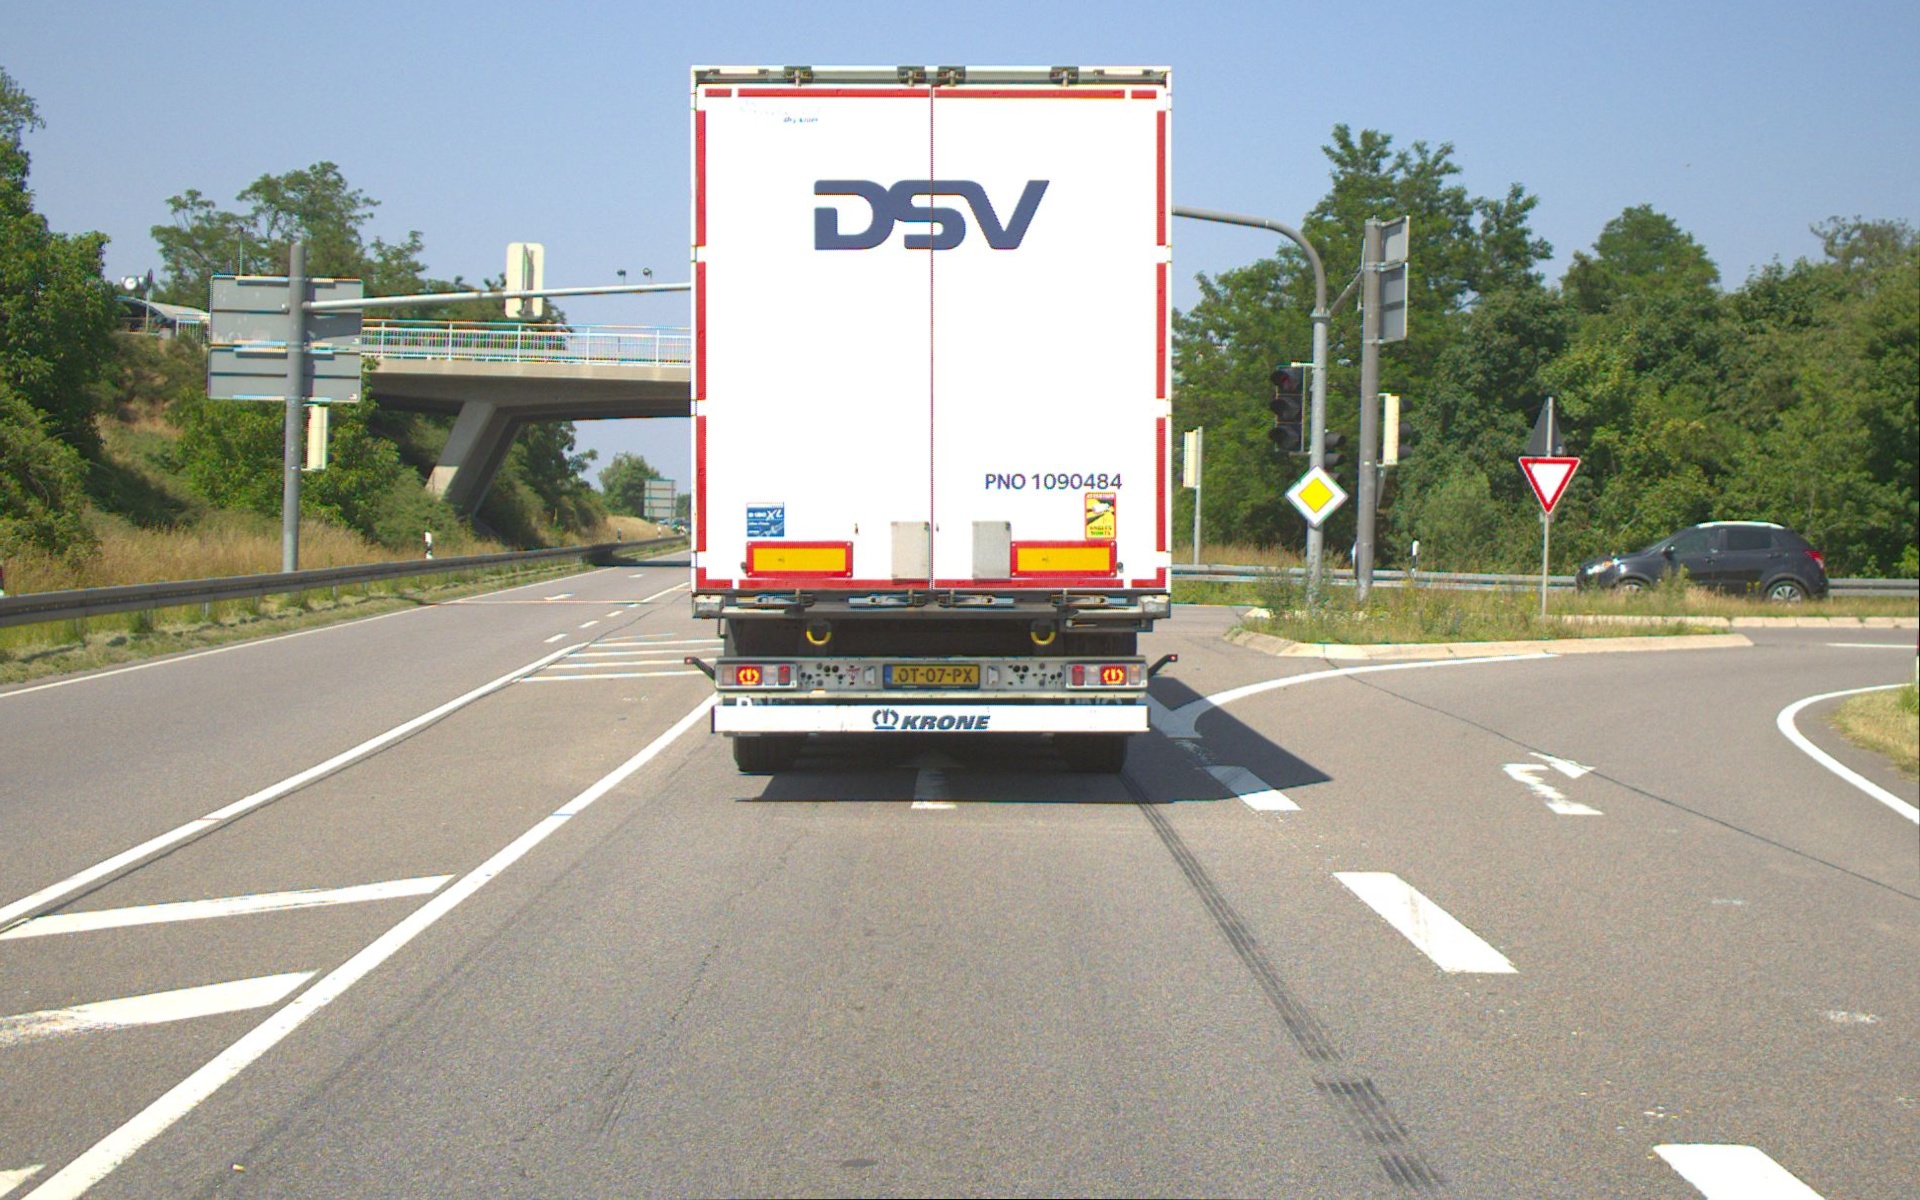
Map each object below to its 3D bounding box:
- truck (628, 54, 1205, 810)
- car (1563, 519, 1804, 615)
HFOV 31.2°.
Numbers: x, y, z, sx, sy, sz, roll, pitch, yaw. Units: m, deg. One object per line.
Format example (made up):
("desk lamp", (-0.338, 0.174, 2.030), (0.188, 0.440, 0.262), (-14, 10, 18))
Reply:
("truck", (-0.254, -0.950, 22.922), (2.987, 3.928, 9.876), (0, 1, 0))
("car", (12.711, -0.576, 60.589), (3.986, 1.634, 1.841), (1, 0, 6))
